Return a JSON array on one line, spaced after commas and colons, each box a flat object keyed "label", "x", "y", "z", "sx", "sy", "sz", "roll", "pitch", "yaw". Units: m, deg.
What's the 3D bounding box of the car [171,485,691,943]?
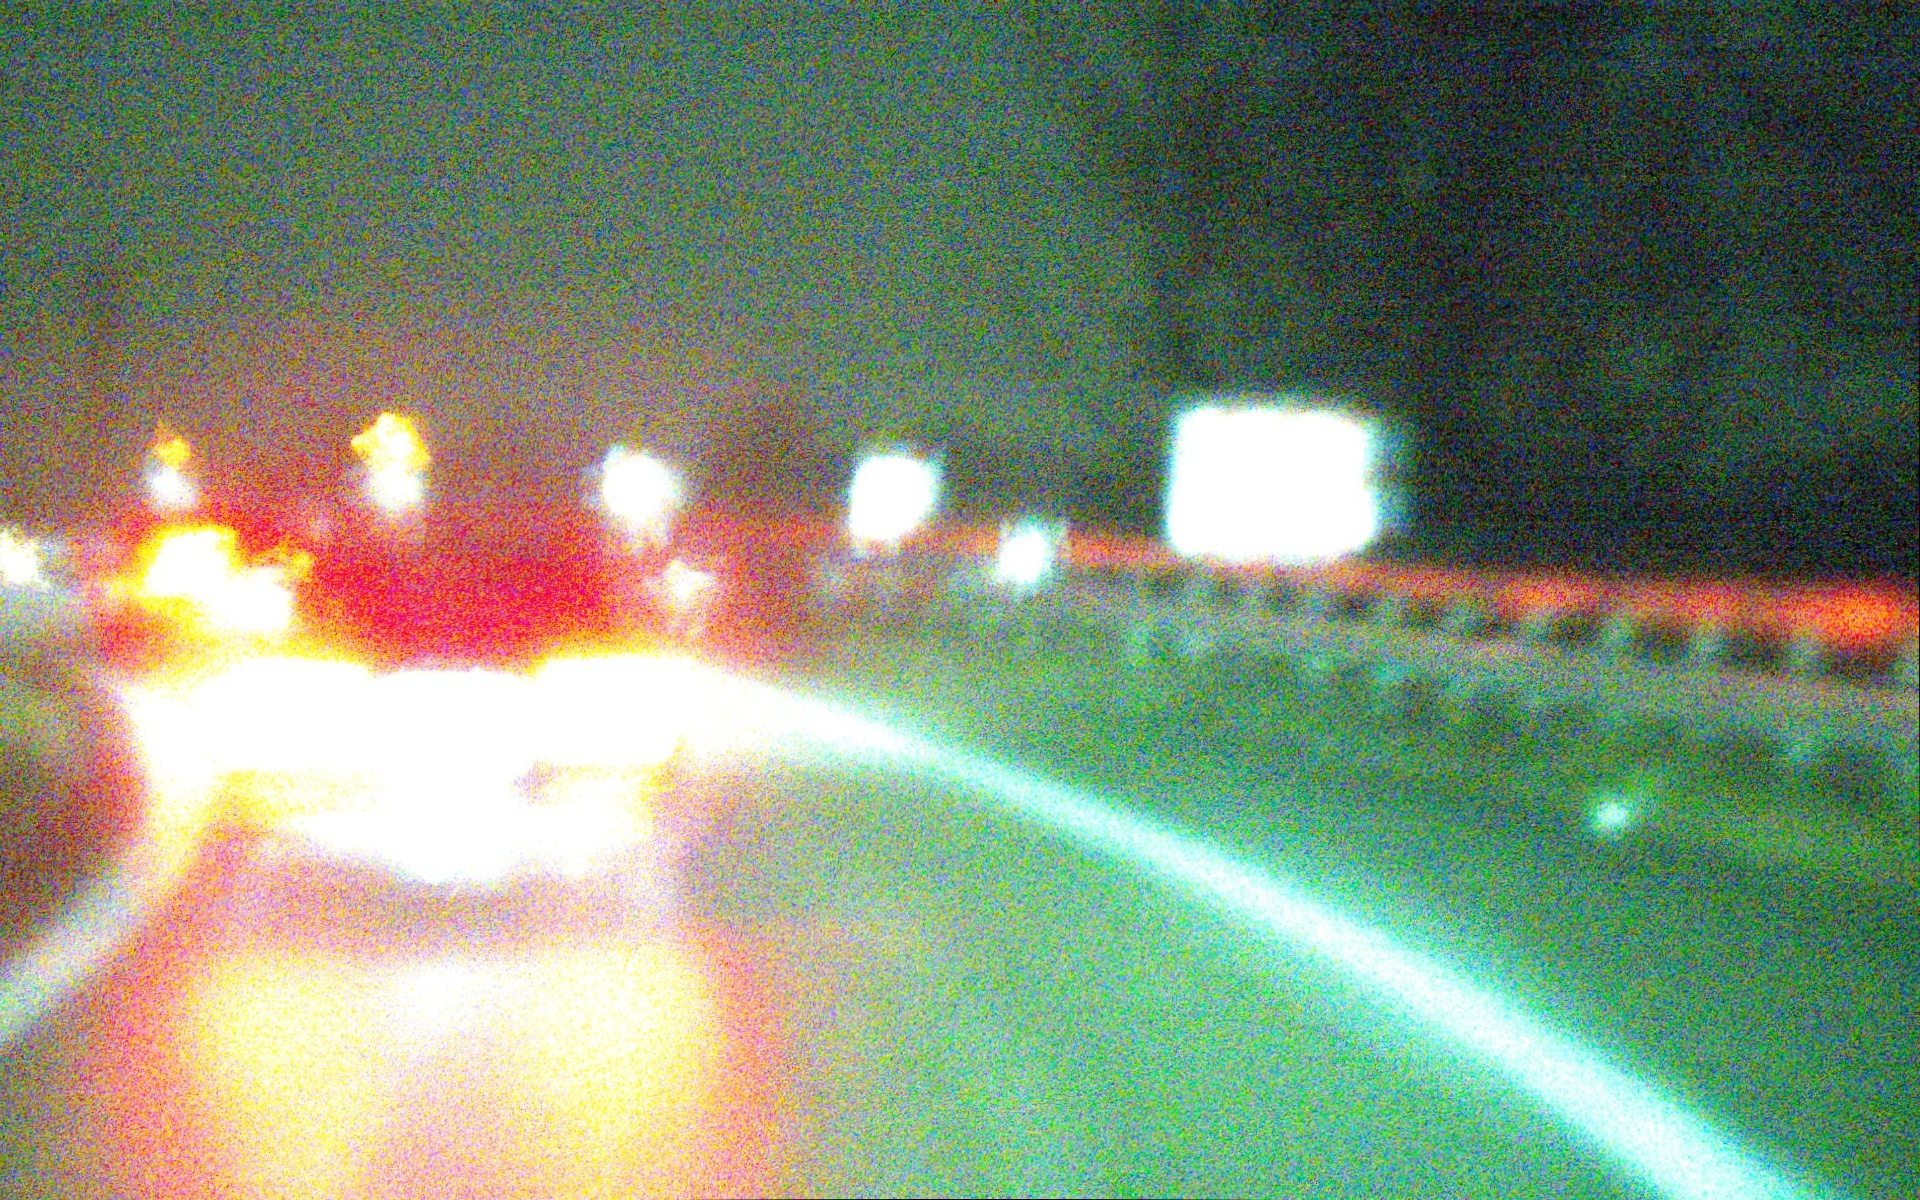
[{"label": "car", "x": -2.213, "y": 0.369, "z": 14.662, "sx": 1.860, "sy": 1.641, "sz": 4.070, "roll": -1, "pitch": 1, "yaw": -8}]

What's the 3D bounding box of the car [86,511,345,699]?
[{"label": "car", "x": -7.444, "y": -0.013, "z": 34.119, "sx": 1.895, "sy": 1.714, "sz": 4.047, "roll": -1, "pitch": 2, "yaw": -21}]
